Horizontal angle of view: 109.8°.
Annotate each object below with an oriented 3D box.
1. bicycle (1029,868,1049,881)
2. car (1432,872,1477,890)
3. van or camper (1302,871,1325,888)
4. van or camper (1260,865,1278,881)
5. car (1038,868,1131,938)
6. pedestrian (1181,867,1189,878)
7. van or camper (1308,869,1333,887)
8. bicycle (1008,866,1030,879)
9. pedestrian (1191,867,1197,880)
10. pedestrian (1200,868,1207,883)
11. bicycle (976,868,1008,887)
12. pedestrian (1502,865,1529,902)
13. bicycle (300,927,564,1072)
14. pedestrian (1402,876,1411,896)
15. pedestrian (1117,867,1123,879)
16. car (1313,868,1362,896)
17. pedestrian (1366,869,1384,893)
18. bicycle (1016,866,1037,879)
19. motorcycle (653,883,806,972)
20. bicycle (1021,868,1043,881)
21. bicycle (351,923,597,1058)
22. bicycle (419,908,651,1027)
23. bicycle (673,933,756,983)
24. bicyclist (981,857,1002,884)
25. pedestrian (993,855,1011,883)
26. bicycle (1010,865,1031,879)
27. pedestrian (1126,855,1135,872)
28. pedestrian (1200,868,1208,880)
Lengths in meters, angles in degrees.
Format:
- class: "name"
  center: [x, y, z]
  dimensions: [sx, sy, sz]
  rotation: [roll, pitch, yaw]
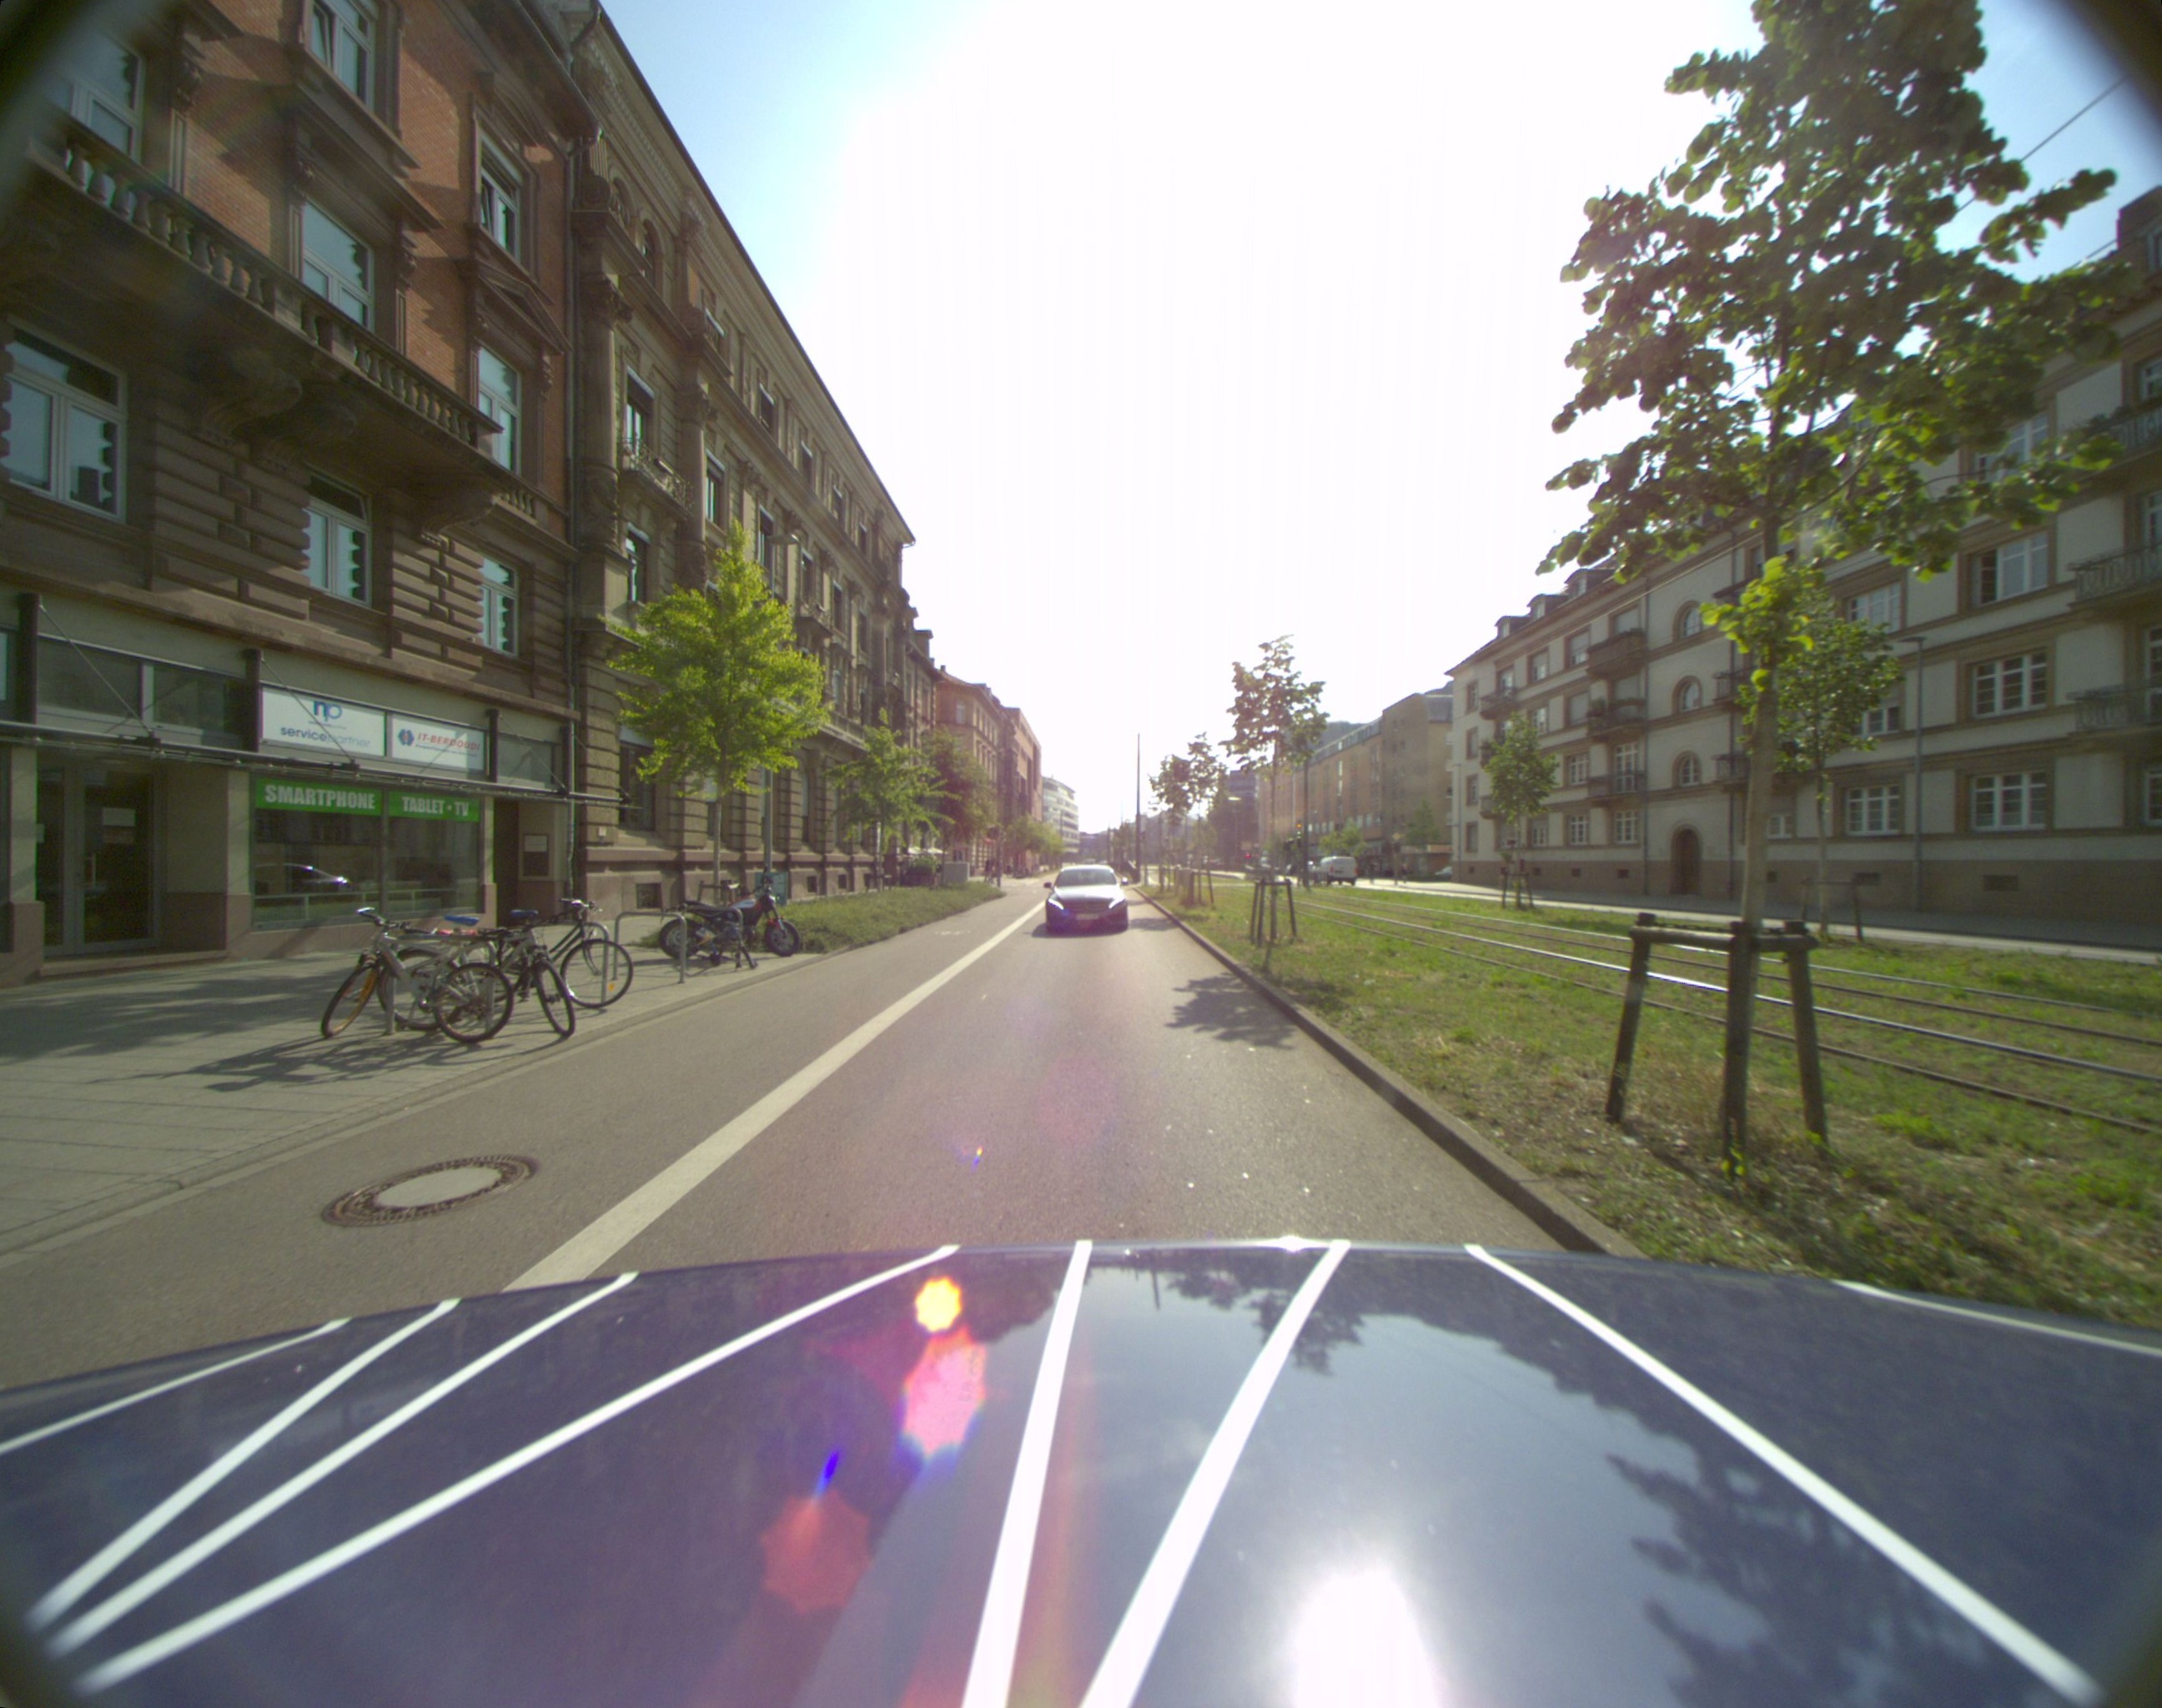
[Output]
- class: "bicycle"
  center: [-3.967, 1.897, 71.245]
  dimensions: [1.761, 1.081, 0.610]
  rotation: [3, 0, -8]
- class: "car"
  center: [34.731, 2.518, 70.787]
  dimensions: [1.768, 1.590, 4.555]
  rotation: [0, -1, -3]
- class: "van or camper"
  center: [28.642, 3.155, 93.581]
  dimensions: [1.997, 2.001, 4.003]
  rotation: [0, -1, 6]
- class: "van or camper"
  center: [33.993, 3.487, 137.271]
  dimensions: [1.998, 2.785, 5.354]
  rotation: [1, 0, 2]
- class: "car"
  center: [0.119, 1.068, 17.953]
  dimensions: [1.907, 1.384, 4.237]
  rotation: [-1, 0, 1]
- class: "pedestrian"
  center: [16.452, 2.936, 120.288]
  dimensions: [0.787, 1.736, 0.833]
  rotation: [2, 0, -35]
- class: "van or camper"
  center: [27.712, 2.739, 87.997]
  dimensions: [1.934, 1.956, 4.002]
  rotation: [0, -1, 6]
- class: "bicycle"
  center: [-5.328, 1.562, 65.096]
  dimensions: [1.756, 1.081, 0.583]
  rotation: [2, 0, 5]
- class: "pedestrian"
  center: [16.418, 2.822, 110.097]
  dimensions: [0.806, 1.875, 0.555]
  rotation: [0, 0, 3]
- class: "pedestrian"
  center: [15.047, 2.627, 93.150]
  dimensions: [0.740, 1.861, 0.940]
  rotation: [0, 0, 4]
- class: "bicycle"
  center: [-5.015, 1.315, 42.762]
  dimensions: [1.779, 0.947, 0.508]
  rotation: [2, 0, 31]
- class: "pedestrian"
  center: [24.465, 1.646, 42.782]
  dimensions: [0.844, 2.056, 1.157]
  rotation: [-1, 0, 2]
- class: "bicycle"
  center: [-5.214, 1.159, 6.142]
  dimensions: [1.789, 1.047, 0.373]
  rotation: [2, 0, 0]
- class: "pedestrian"
  center: [26.143, 2.551, 61.065]
  dimensions: [0.679, 1.574, 0.809]
  rotation: [0, 0, 22]
- class: "pedestrian"
  center: [5.508, 2.671, 107.599]
  dimensions: [0.675, 1.747, 0.727]
  rotation: [-2, 0, 1]
- class: "car"
  center: [18.044, 1.937, 53.718]
  dimensions: [1.998, 1.883, 5.048]
  rotation: [0, -1, 3]
- class: "pedestrian"
  center: [23.490, 2.140, 60.767]
  dimensions: [1.073, 1.856, 0.862]
  rotation: [0, 0, -26]
- class: "bicycle"
  center: [-4.800, 1.621, 66.959]
  dimensions: [1.758, 1.081, 0.669]
  rotation: [3, 0, 7]
- class: "motorcycle"
  center: [-5.470, 1.117, 11.870]
  dimensions: [2.046, 1.279, 0.703]
  rotation: [3, -1, -34]
- class: "bicycle"
  center: [-4.396, 1.840, 68.498]
  dimensions: [1.763, 1.081, 0.671]
  rotation: [4, 0, -21]
- class: "bicycle"
  center: [-5.199, 1.161, 6.546]
  dimensions: [1.789, 1.047, 0.373]
  rotation: [2, 0, 0]
- class: "bicycle"
  center: [-5.523, 1.141, 7.772]
  dimensions: [1.812, 1.089, 0.671]
  rotation: [2, 0, -4]
- class: "bicycle"
  center: [-5.084, 1.440, 10.555]
  dimensions: [0.960, 0.606, 0.360]
  rotation: [2, 0, 3]
- class: "bicyclist"
  center: [-5.025, 0.943, 42.767]
  dimensions: [0.929, 1.473, 0.587]
  rotation: [2, 0, 31]
- class: "pedestrian"
  center: [-5.047, 0.970, 48.784]
  dimensions: [0.992, 1.795, 0.865]
  rotation: [1, -2, 4]
- class: "bicycle"
  center: [-5.230, 1.561, 65.695]
  dimensions: [1.756, 1.081, 0.583]
  rotation: [2, 0, 5]
- class: "pedestrian"
  center: [5.789, 1.110, 88.758]
  dimensions: [0.835, 2.002, 1.028]
  rotation: [-2, 0, -2]
- class: "pedestrian"
  center: [16.413, 2.645, 101.599]
  dimensions: [0.679, 1.521, 0.810]
  rotation: [0, 0, -29]
